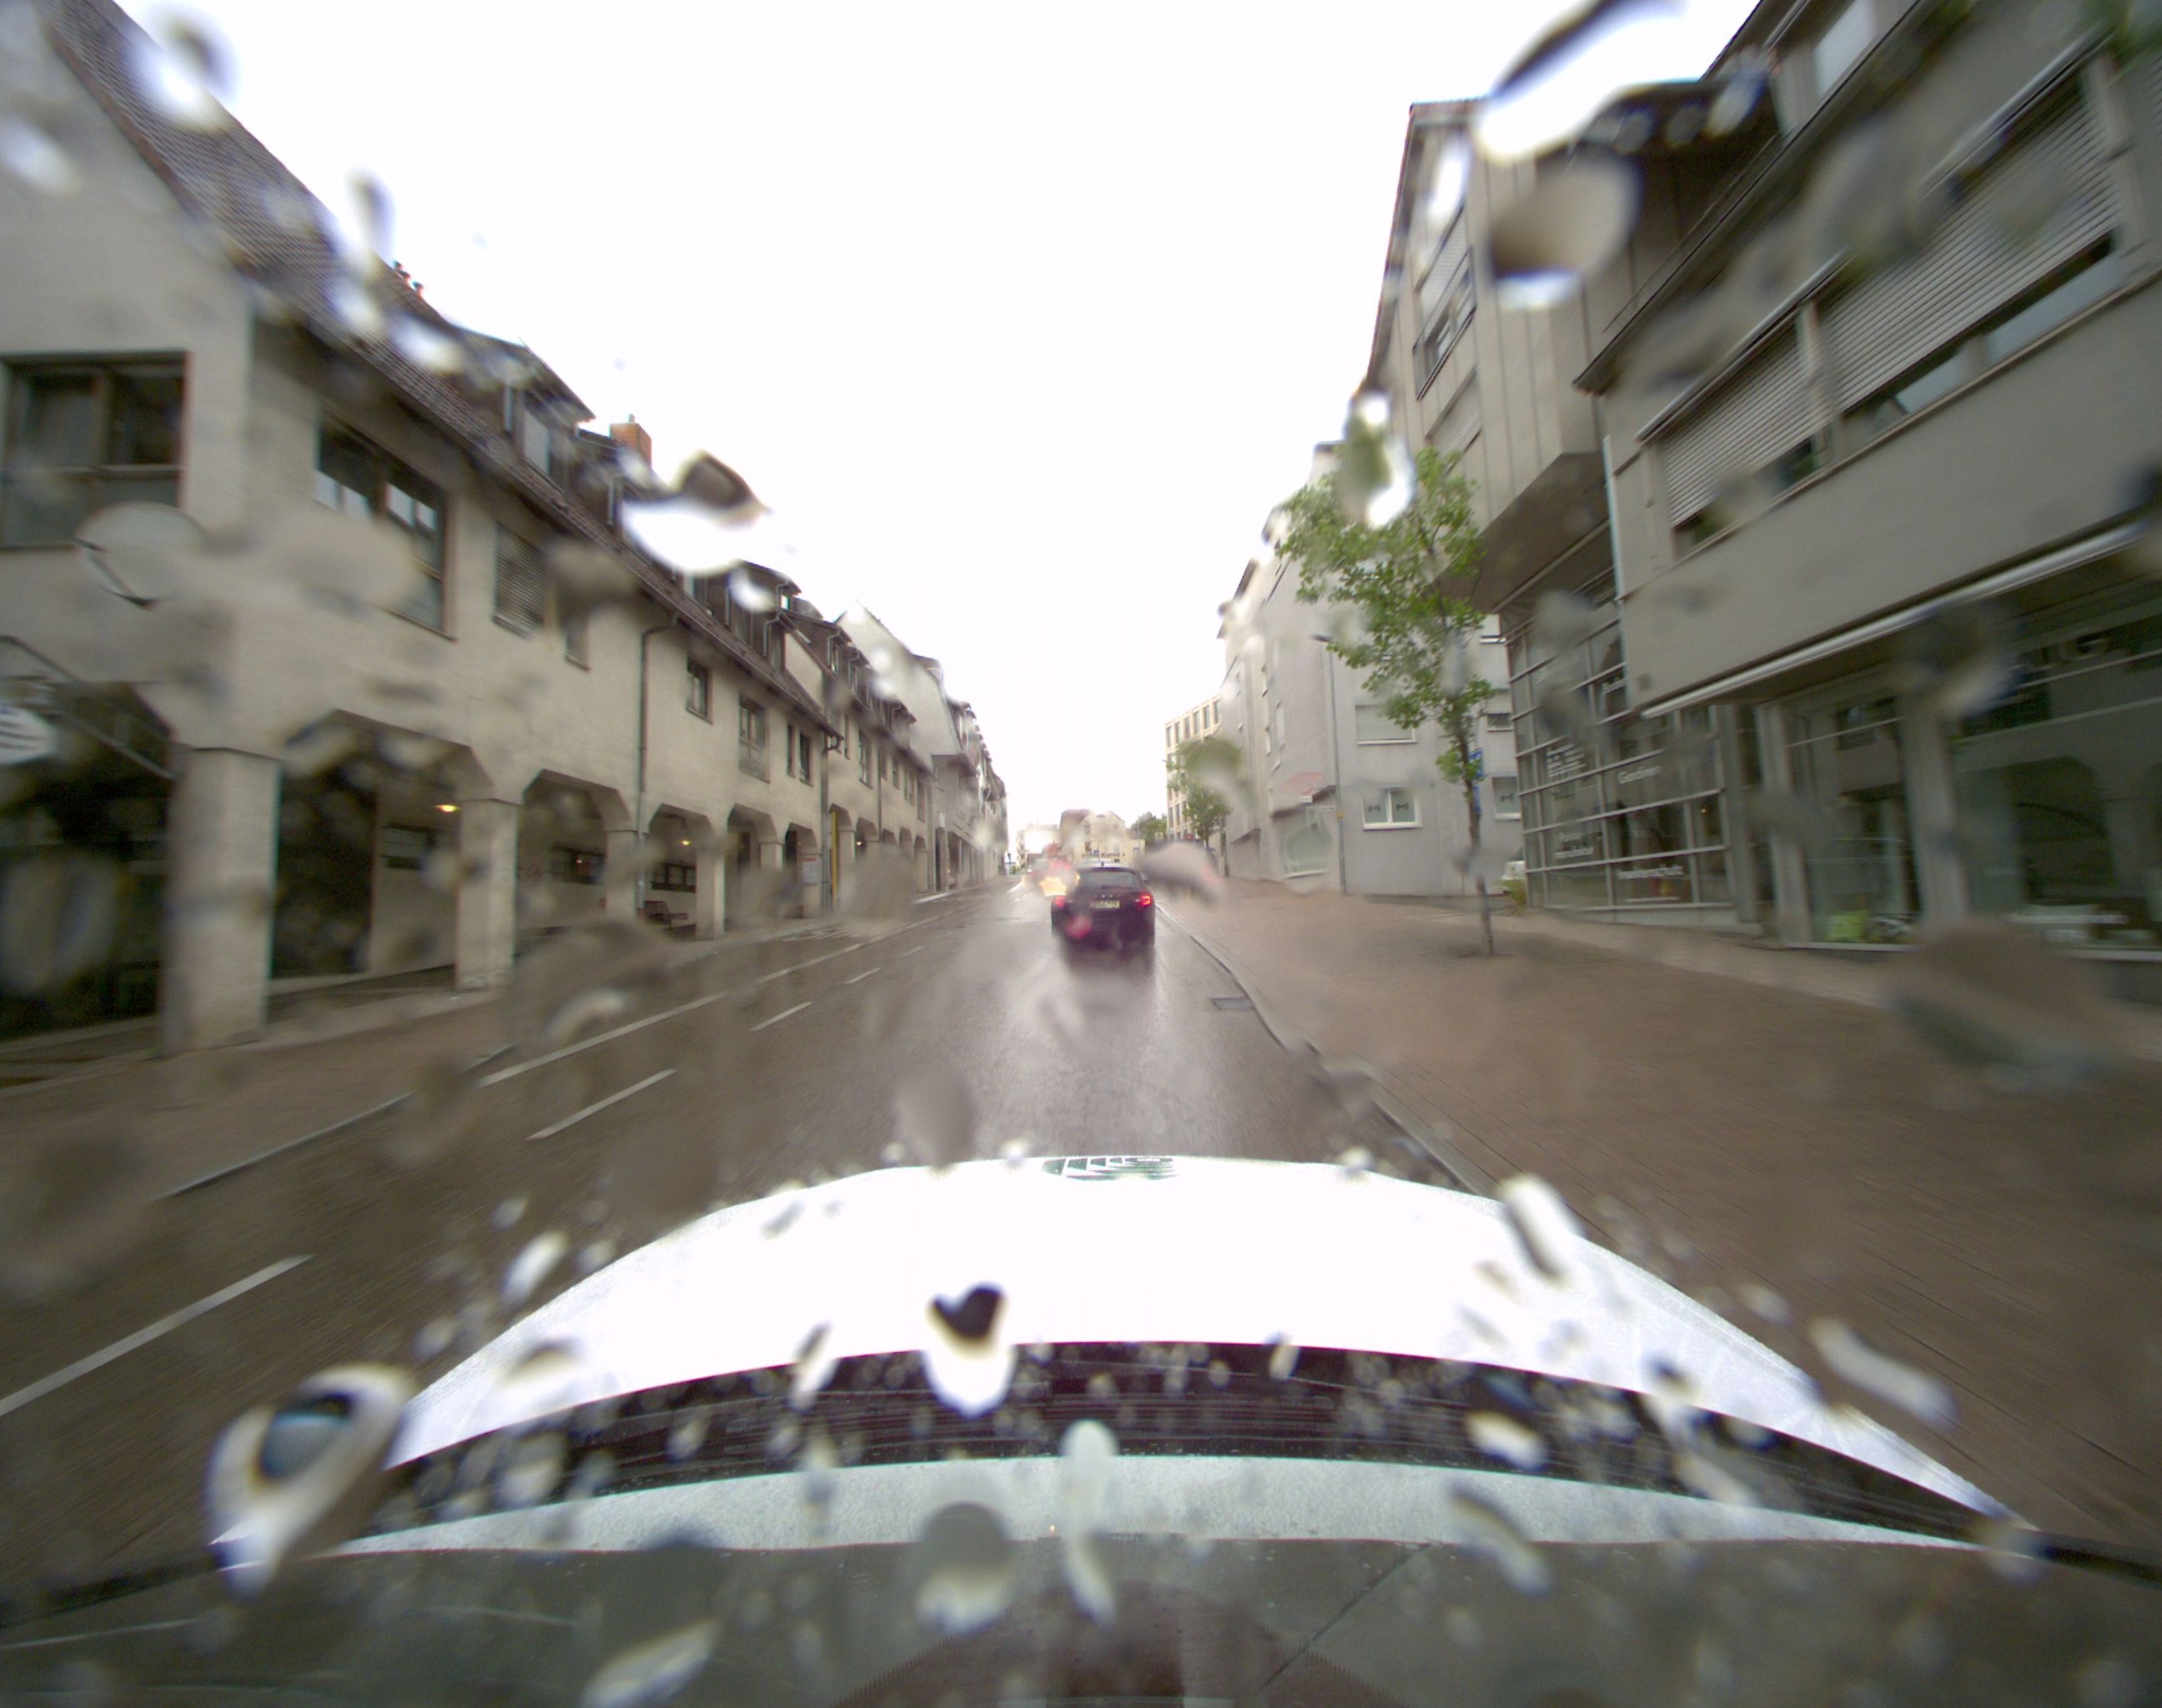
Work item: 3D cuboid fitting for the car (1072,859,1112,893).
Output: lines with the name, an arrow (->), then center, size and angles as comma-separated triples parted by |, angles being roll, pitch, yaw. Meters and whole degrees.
car -> 0.491, 1.019, 38.905 | 1.673, 1.510, 3.586 | -2, -1, -2

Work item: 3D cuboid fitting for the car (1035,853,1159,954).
car -> 0.284, 0.816, 15.324 | 1.938, 1.567, 4.417 | -2, -1, 0

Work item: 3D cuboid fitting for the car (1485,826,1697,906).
car -> 11.747, 0.281, 18.926 | 3.751, 1.454, 1.743 | -5, -2, -1

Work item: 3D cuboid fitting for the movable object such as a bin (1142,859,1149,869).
movable object such as a bin -> 7.077, 1.131, 89.252 | 0.593, 1.062, 0.579 | -3, -1, 0

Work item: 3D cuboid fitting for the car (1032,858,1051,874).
car -> -3.818, 1.168, 79.103 | 1.672, 1.510, 3.587 | -2, -1, -1

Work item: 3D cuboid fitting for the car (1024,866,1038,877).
car -> -6.911, 2.390, 111.505 | 1.675, 1.409, 3.580 | -2, -1, -7

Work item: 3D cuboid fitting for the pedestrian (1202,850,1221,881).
pedestrian -> 6.750, 0.595, 42.179 | 0.732, 1.542, 1.039 | -5, -1, 3

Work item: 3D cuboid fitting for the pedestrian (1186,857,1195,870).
pedestrian -> 10.508, 0.887, 78.166 | 0.669, 1.162, 0.635 | -4, -1, 0

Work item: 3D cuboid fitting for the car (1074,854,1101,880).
car -> 0.422, 0.847, 53.661 | 1.675, 1.560, 4.000 | -3, -1, 0

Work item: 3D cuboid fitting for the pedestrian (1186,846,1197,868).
pedestrian -> 10.450, 0.289, 76.926 | 0.779, 1.940, 1.021 | -4, -1, 1
